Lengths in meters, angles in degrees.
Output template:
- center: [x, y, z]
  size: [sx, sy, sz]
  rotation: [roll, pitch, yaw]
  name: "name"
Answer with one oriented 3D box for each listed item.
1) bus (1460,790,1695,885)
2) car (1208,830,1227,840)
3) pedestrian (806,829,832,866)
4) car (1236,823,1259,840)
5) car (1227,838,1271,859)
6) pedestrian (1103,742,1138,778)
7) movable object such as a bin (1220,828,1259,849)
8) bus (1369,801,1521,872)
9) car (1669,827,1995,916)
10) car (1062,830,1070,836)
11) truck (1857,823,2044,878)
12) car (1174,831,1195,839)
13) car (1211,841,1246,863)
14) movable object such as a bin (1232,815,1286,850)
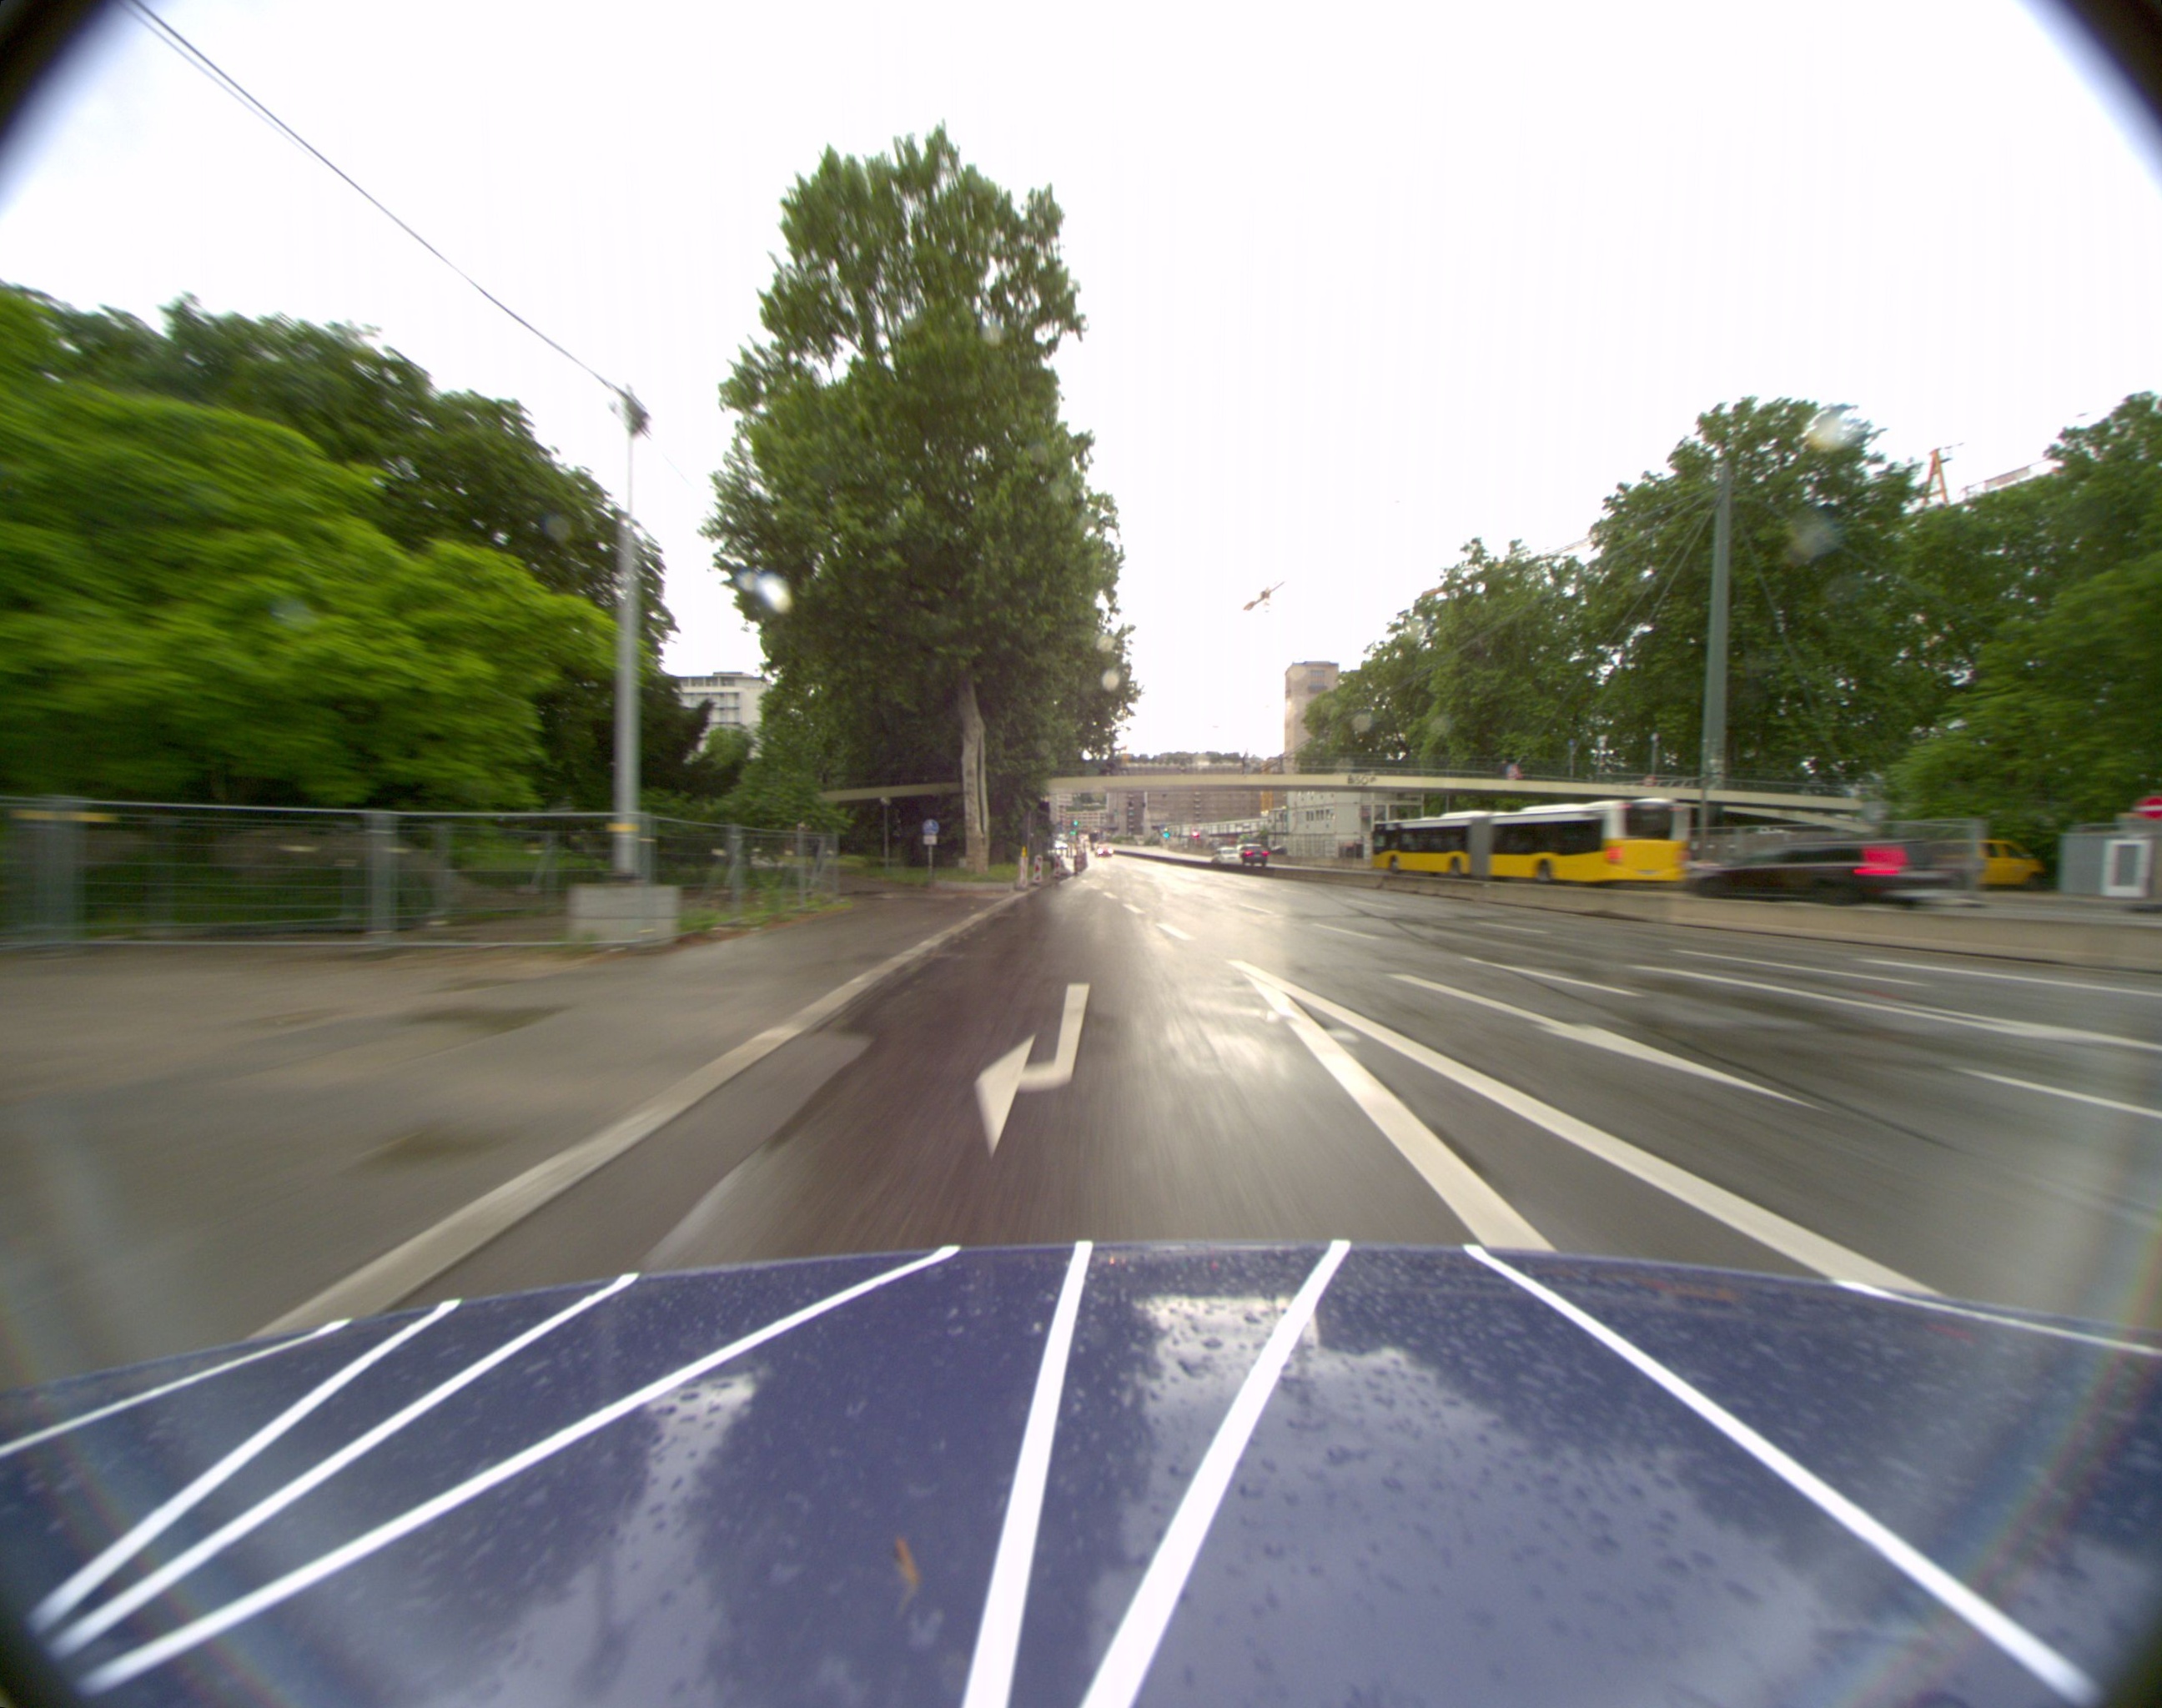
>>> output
- center: [18.708, -0.650, 29.680]
  size: [2.711, 3.133, 9.145]
  rotation: [0, 1, -3]
  name: "bus"
- center: [24.443, -3.389, 136.249]
  size: [1.851, 1.752, 4.792]
  rotation: [0, 2, -7]
  name: "car"
- center: [-14.421, -0.375, 41.826]
  size: [1.054, 2.002, 1.036]
  rotation: [-1, 2, -39]
  name: "pedestrian"
- center: [31.954, -4.364, 145.867]
  size: [2.281, 3.049, 6.162]
  rotation: [0, 2, -8]
  name: "car"
- center: [13.312, -0.479, 60.520]
  size: [2.087, 1.621, 4.850]
  rotation: [0, 1, -4]
  name: "car"
- center: [2.325, -5.608, 45.265]
  size: [1.991, 2.003, 1.111]
  rotation: [-1, 3, -1]
  name: "pedestrian"
- center: [24.040, -2.354, 115.862]
  size: [3.944, 3.111, 6.381]
  rotation: [0, 2, -7]
  name: "movable object such as a bin"
- center: [18.097, -0.889, 38.666]
  size: [2.814, 3.166, 8.801]
  rotation: [0, 1, -5]
  name: "bus"
- center: [16.096, 0.247, 16.800]
  size: [2.045, 1.653, 4.928]
  rotation: [0, 2, -5]
  name: "car"
- center: [-4.079, -5.694, 207.516]
  size: [1.833, 1.643, 4.569]
  rotation: [0, 2, -6]
  name: "car"
- center: [33.141, -0.160, 29.032]
  size: [5.265, 2.002, 2.161]
  rotation: [0, 2, -9]
  name: "truck"
- center: [24.952, -4.620, 182.992]
  size: [2.004, 2.002, 5.011]
  rotation: [-2, 3, -43]
  name: "car"
- center: [10.890, -0.197, 56.190]
  size: [1.714, 1.481, 3.448]
  rotation: [0, 2, -4]
  name: "car"
- center: [24.925, -3.084, 106.847]
  size: [4.764, 4.777, 8.350]
  rotation: [0, 2, -7]
  name: "movable object such as a bin"
